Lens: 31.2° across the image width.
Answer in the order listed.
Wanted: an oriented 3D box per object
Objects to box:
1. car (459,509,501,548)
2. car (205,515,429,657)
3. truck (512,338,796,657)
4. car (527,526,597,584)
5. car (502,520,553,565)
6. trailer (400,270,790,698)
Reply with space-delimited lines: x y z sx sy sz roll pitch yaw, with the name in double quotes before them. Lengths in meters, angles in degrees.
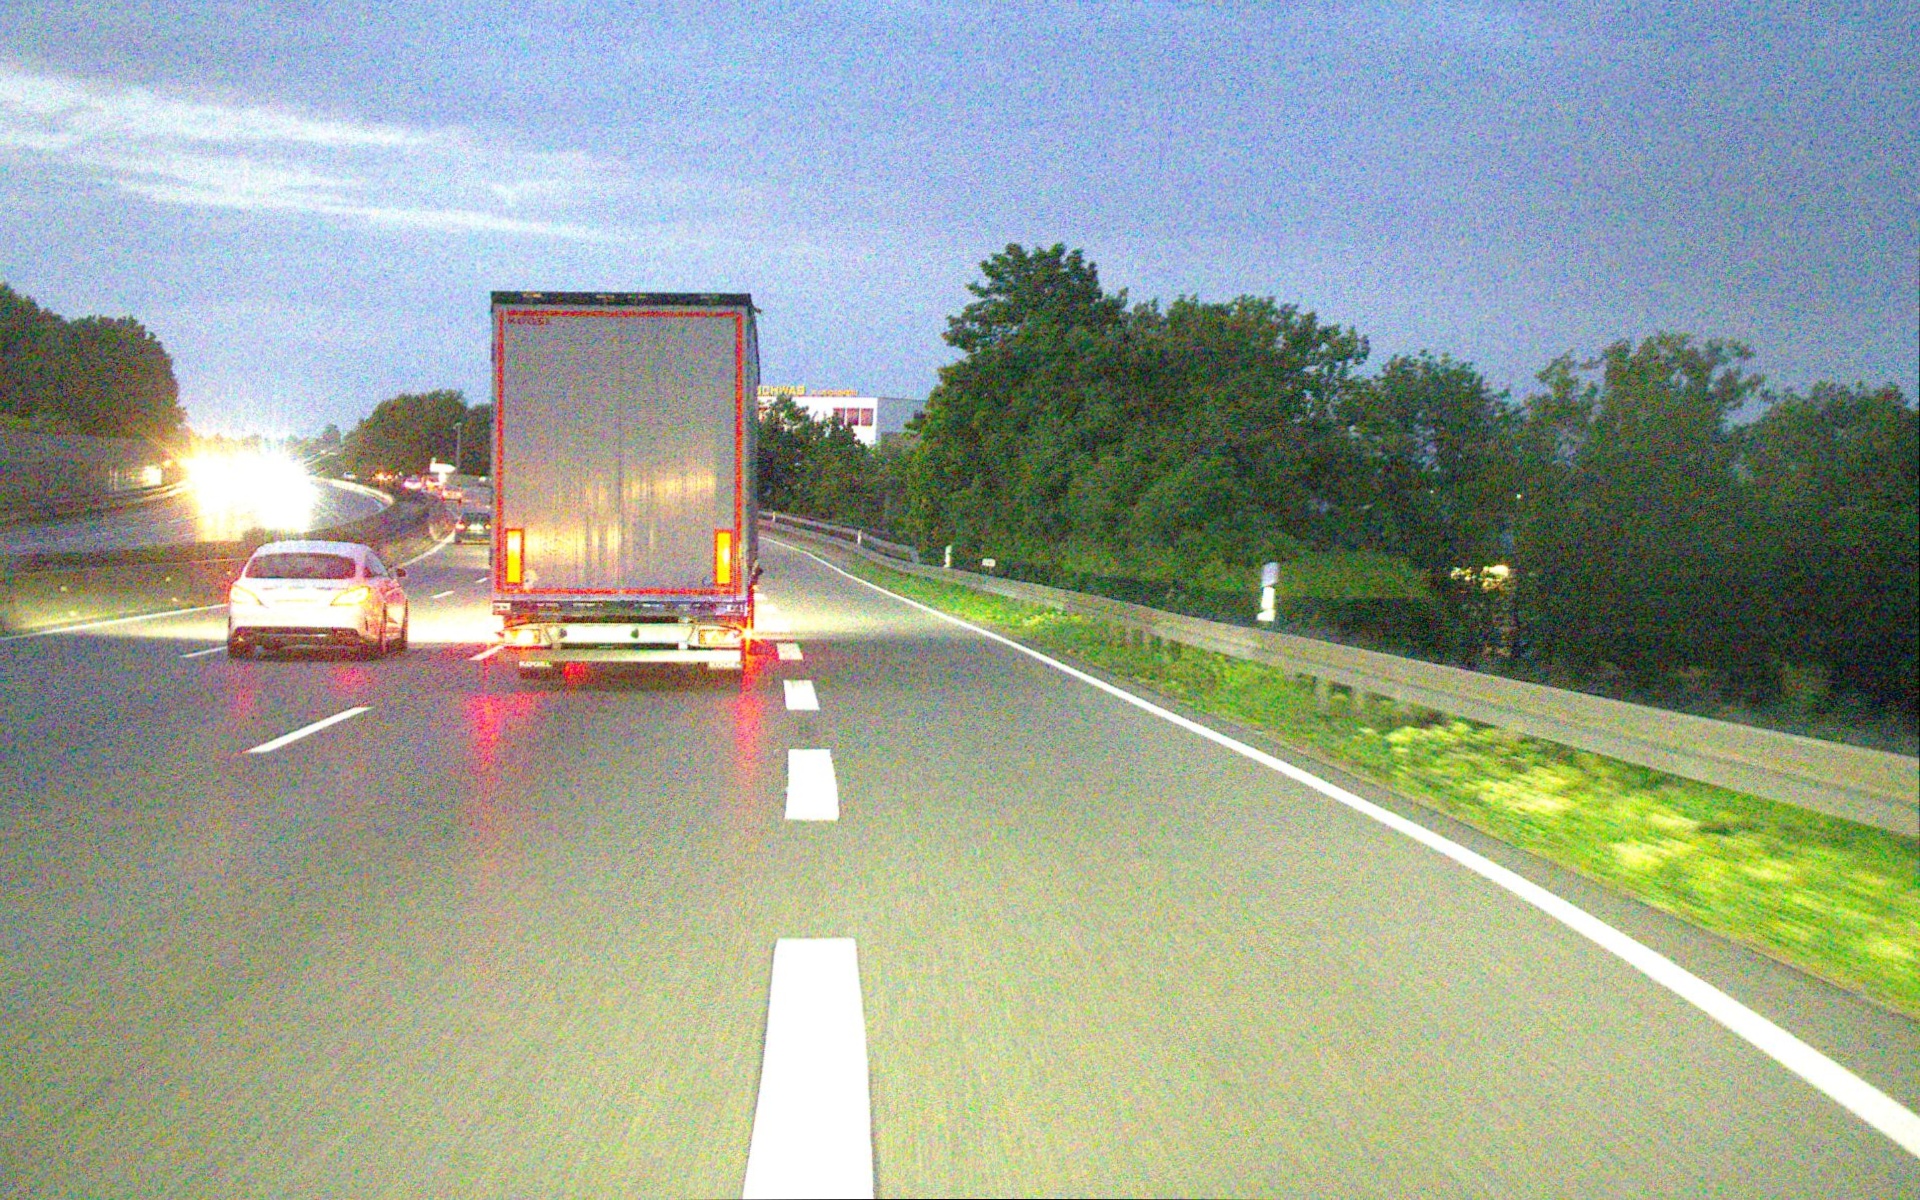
"car" -21.466 -3.172 153.702 1.761 1.569 4.577 2 -1 -7
"car" -7.938 -0.135 42.890 1.906 1.609 4.803 2 -1 -1
"truck" -4.083 -1.359 47.287 3.550 4.077 6.152 0 1 -2
"car" -12.692 -1.430 109.839 2.065 1.680 4.577 2 -1 -5
"car" -21.038 -2.786 167.524 1.993 2.007 4.000 2 -1 -1
"trailer" -3.886 -1.237 40.659 3.550 4.102 15.065 0 1 -2
